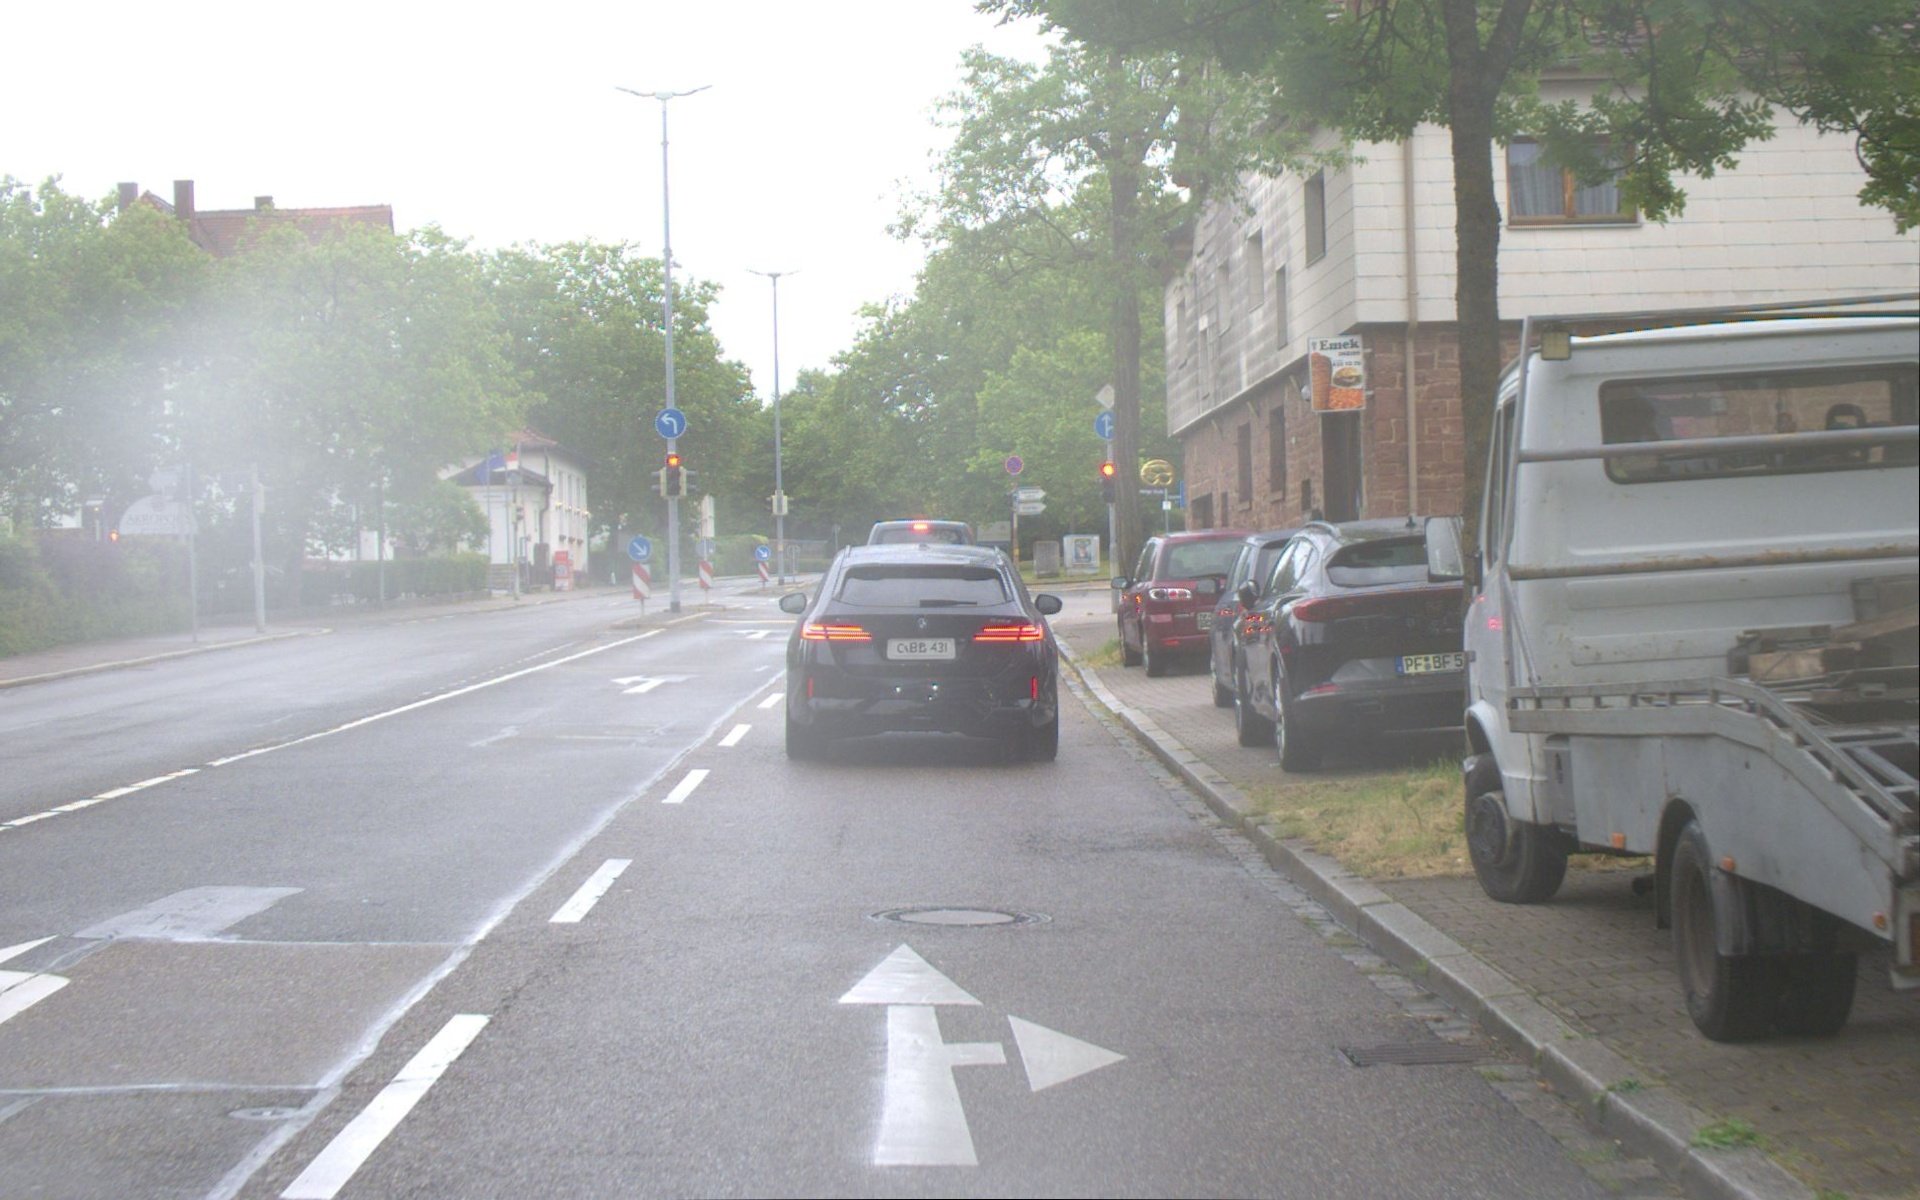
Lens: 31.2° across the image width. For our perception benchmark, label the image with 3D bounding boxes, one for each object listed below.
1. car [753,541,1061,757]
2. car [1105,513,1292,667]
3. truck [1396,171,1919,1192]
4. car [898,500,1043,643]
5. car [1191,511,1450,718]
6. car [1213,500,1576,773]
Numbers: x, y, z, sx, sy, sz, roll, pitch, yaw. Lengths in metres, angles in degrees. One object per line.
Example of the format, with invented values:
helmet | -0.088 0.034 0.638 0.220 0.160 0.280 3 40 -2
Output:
car | -0.437 0.290 25.278 2.064 1.441 4.484 0 1 -2
car | 2.568 -0.150 37.736 1.584 1.485 3.628 -4 2 -2
truck | 2.967 0.044 10.644 2.080 2.214 6.502 -4 1 -2
car | 0.100 -0.415 46.046 1.783 1.811 4.001 -1 1 -2
car | 2.875 0.059 28.105 1.604 1.467 3.856 -4 1 0
car | 2.705 0.162 22.273 1.714 1.493 4.184 -4 1 0
